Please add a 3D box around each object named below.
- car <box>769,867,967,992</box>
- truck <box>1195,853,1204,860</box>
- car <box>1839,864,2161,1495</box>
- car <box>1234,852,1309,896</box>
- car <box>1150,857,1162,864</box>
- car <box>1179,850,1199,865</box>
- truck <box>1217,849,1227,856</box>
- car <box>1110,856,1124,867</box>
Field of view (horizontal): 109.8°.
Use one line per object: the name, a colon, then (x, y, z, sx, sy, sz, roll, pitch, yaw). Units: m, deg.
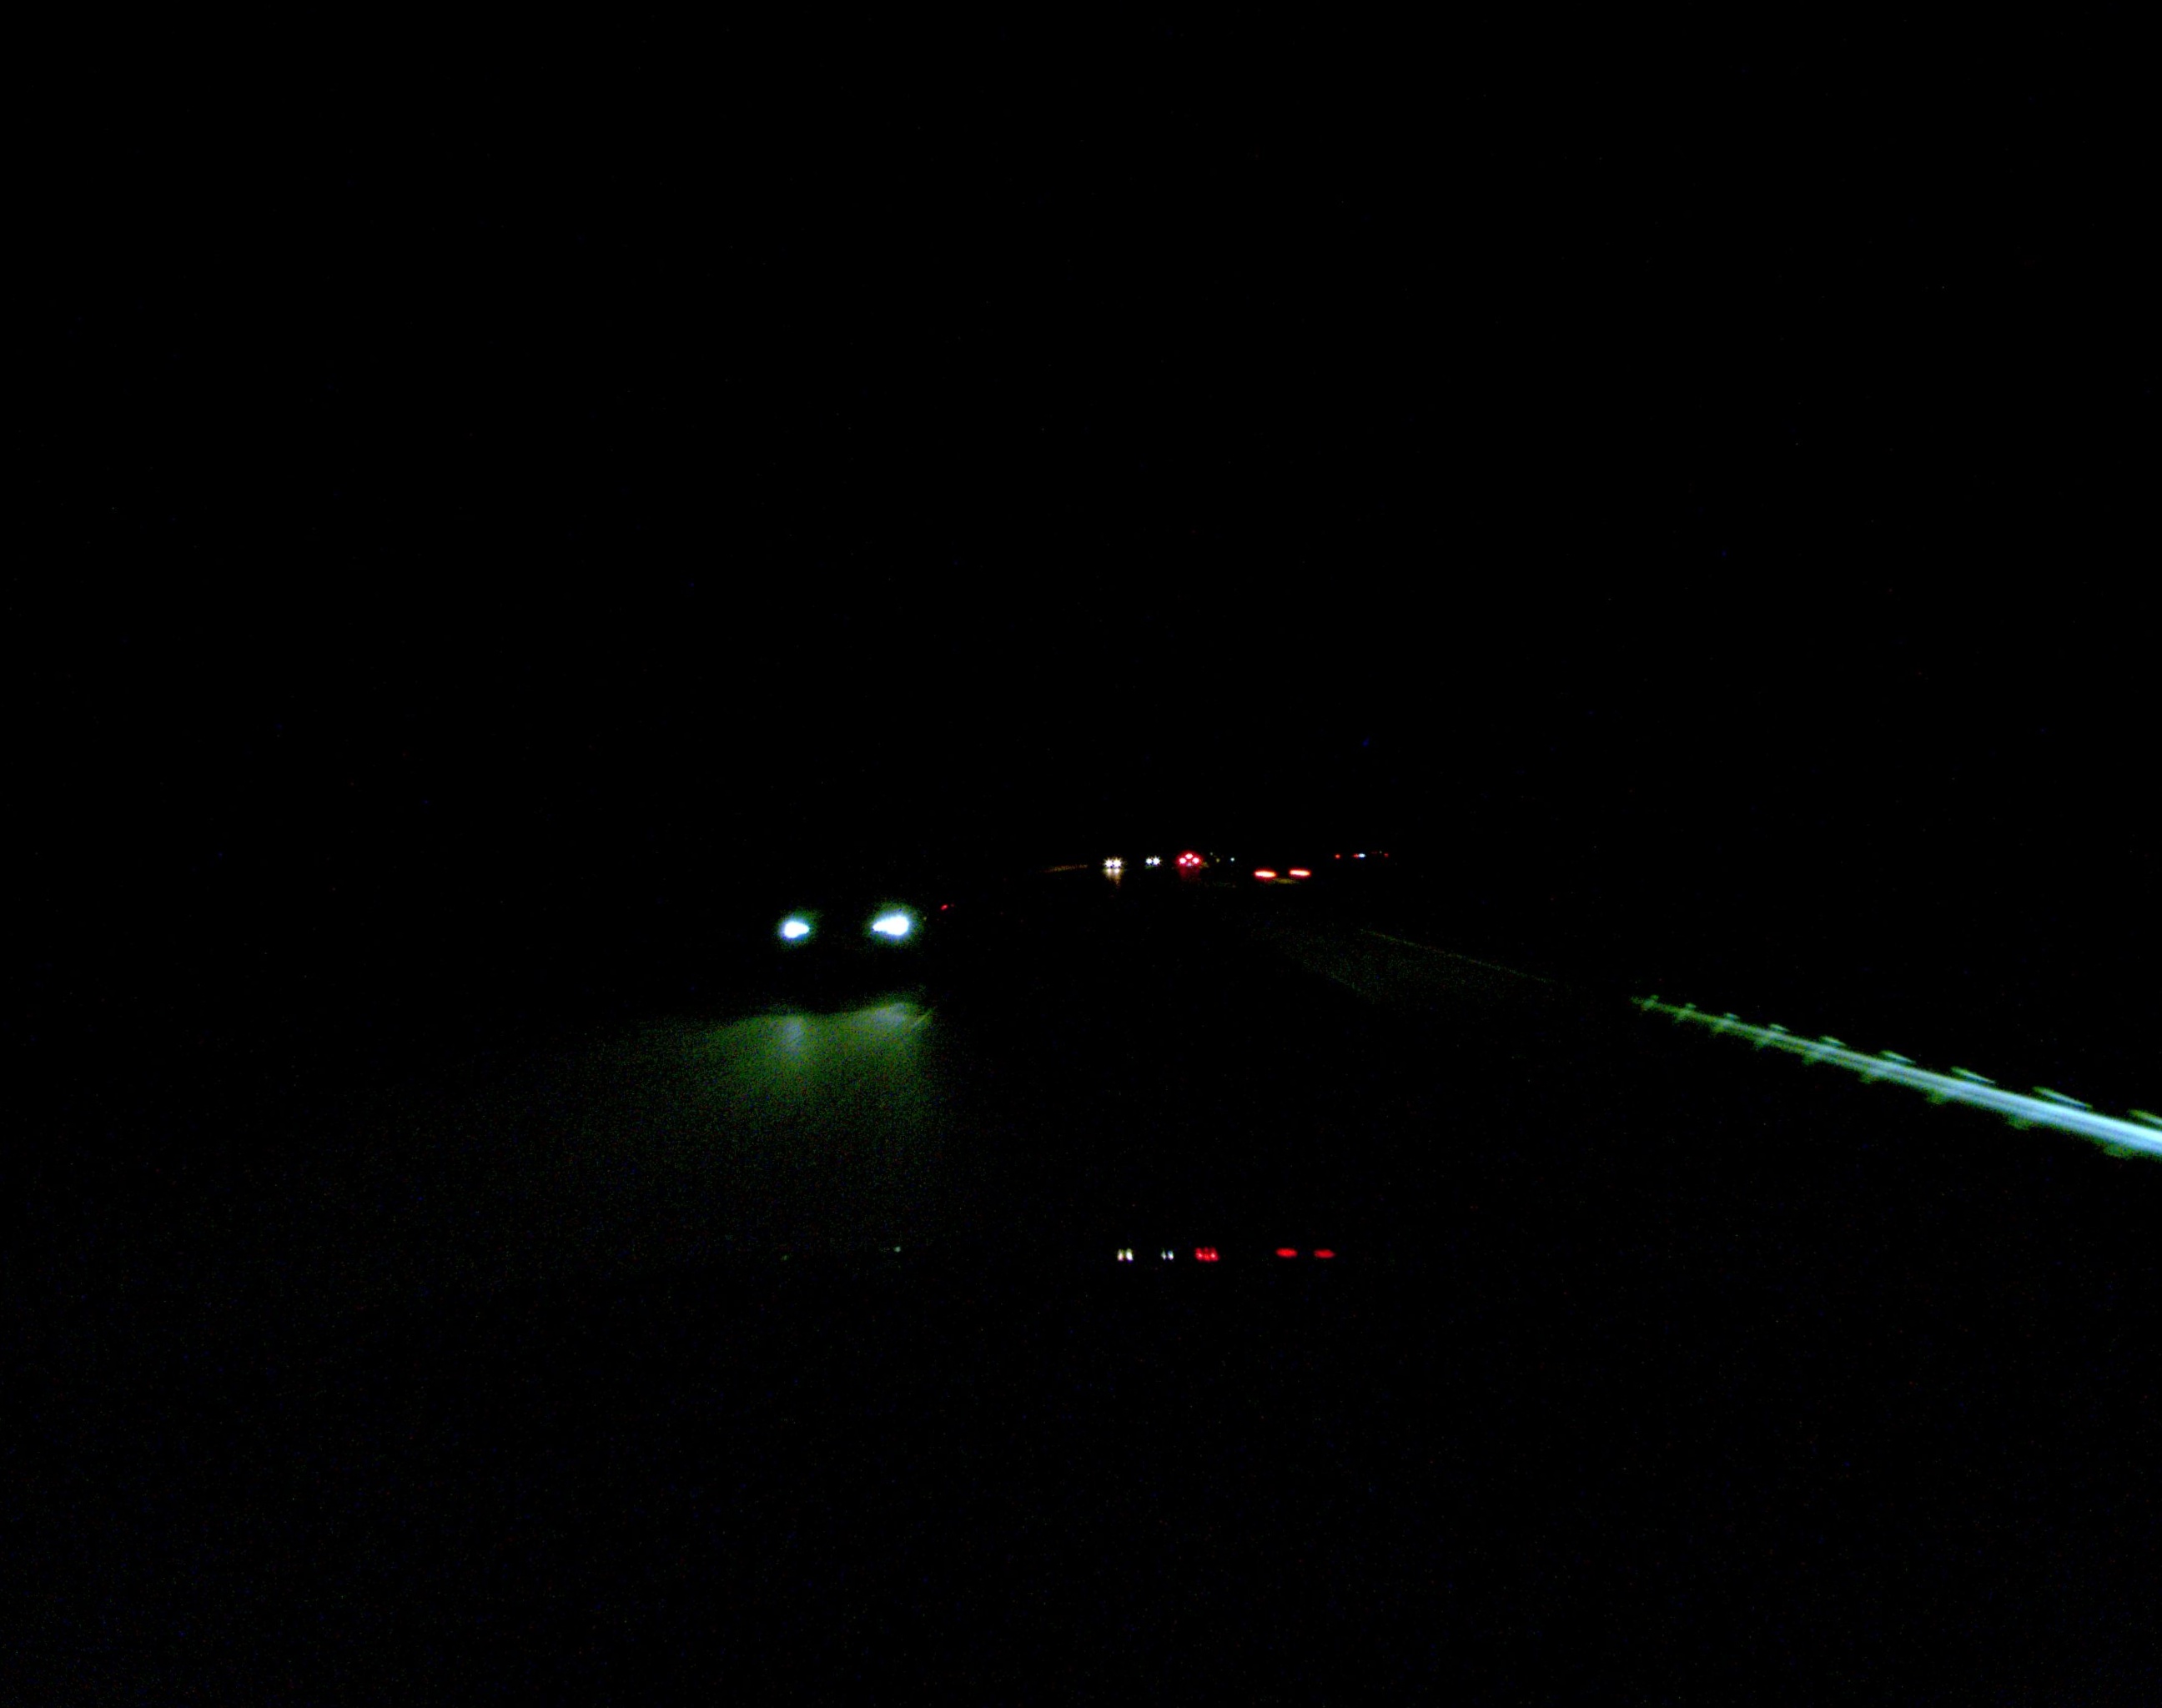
car: (-3.101, 1.018, 12.226, 1.813, 1.418, 4.873, -1, 1, 0)
truck: (26.046, 0.483, 166.904, 1.686, 1.461, 4.156, -2, 1, 10)
car: (3.364, 0.792, 0.536, 1.655, 1.460, 3.999, 0, 1, 0)
car: (6.852, 0.676, 27.733, 1.721, 1.372, 4.243, -2, 1, 1)
car: (15.767, 1.407, 159.966, 1.810, 1.508, 3.940, 1, -1, 14)
car: (11.119, 0.332, 78.446, 1.716, 1.435, 4.488, -2, 1, 5)
truck: (47.708, -0.551, 256.166, 2.423, 2.410, 7.101, 0, 0, 18)
car: (5.070, 1.055, 105.680, 1.812, 1.508, 3.936, 1, 1, 4)
